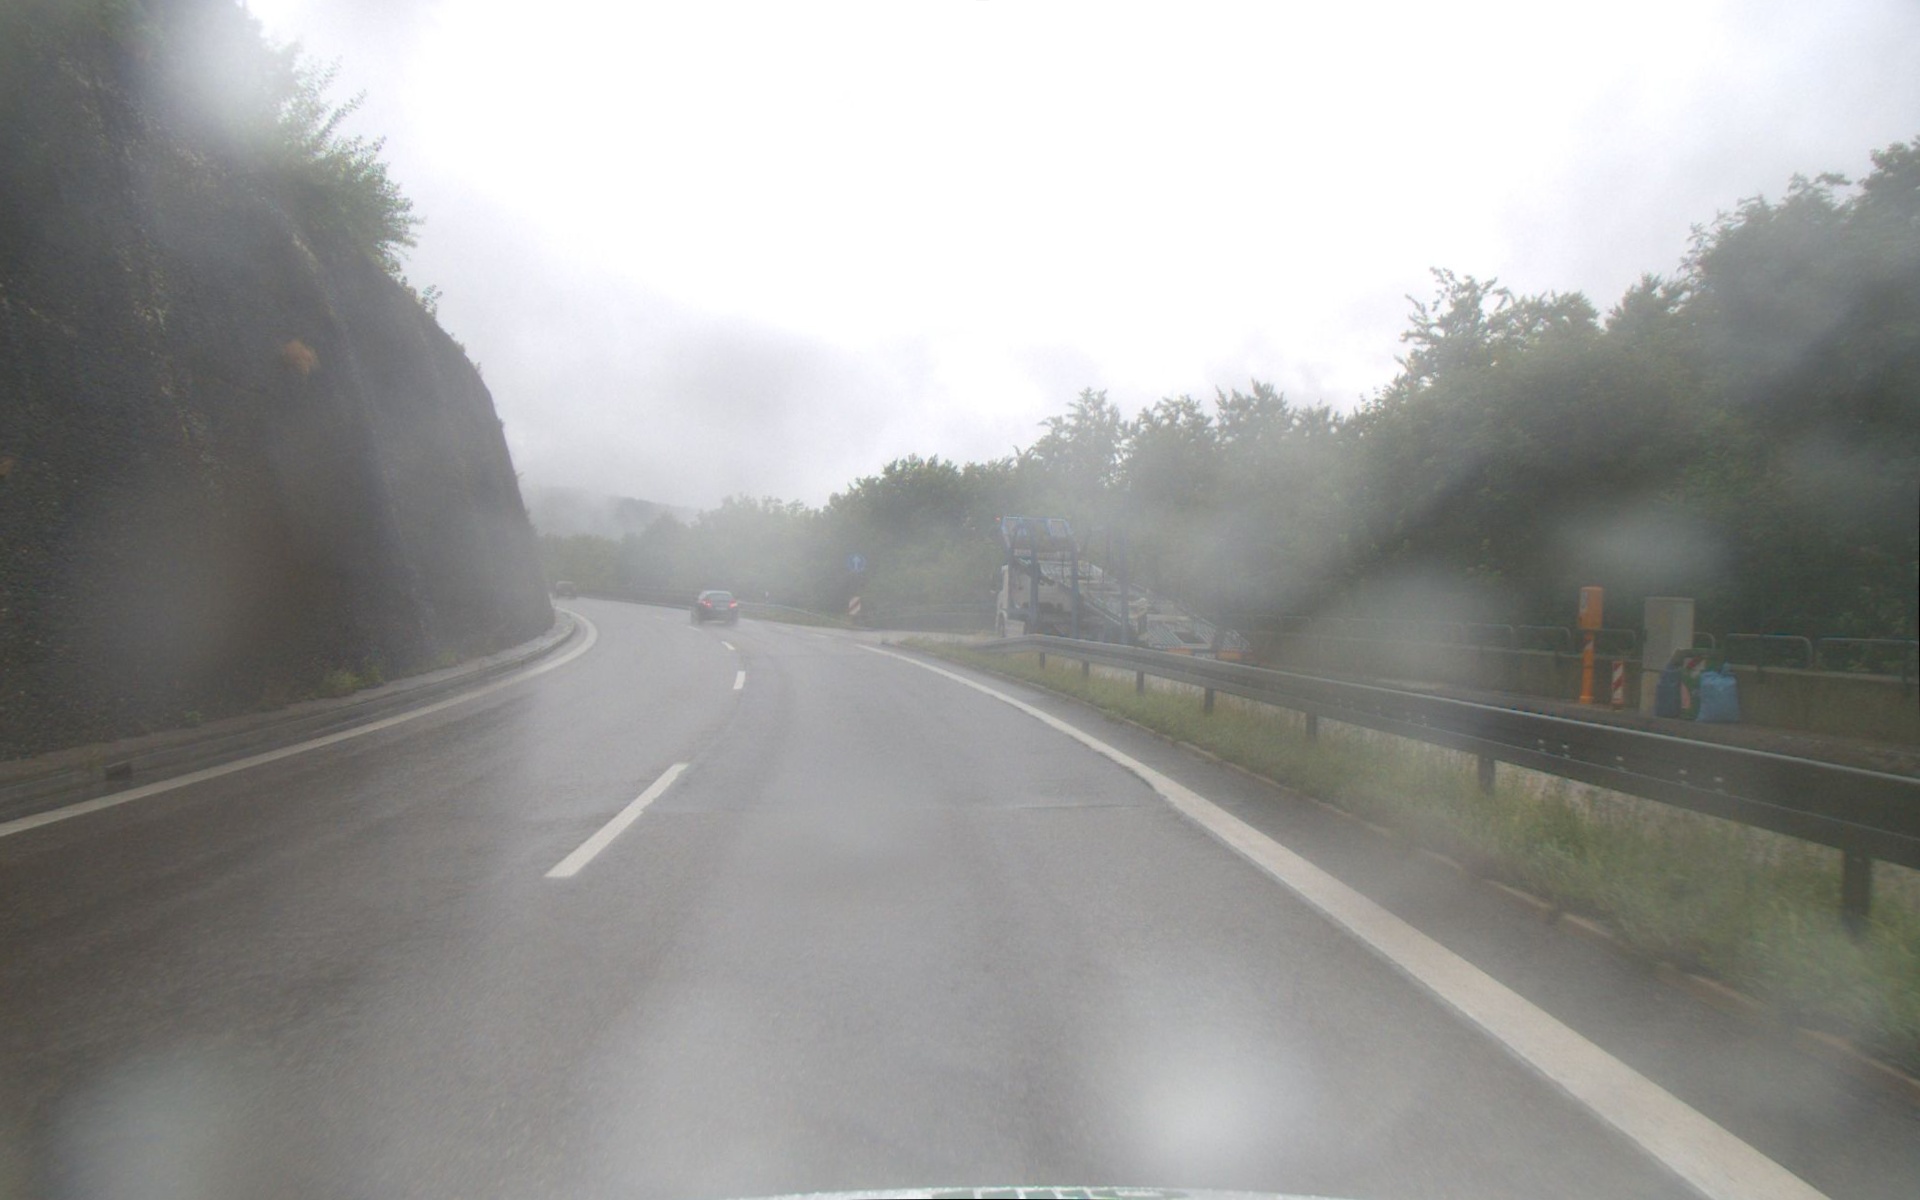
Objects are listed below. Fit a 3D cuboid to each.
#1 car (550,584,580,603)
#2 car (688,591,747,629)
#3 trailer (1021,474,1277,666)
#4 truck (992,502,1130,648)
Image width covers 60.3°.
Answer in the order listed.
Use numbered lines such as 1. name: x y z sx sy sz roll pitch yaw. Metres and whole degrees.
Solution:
1. car: -34.687 -0.606 145.136 1.879 1.525 3.970 2 0 -24
2. car: -10.905 0.427 74.275 1.875 1.525 3.978 2 0 -19
3. trailer: 4.565 -0.668 44.640 2.839 4.319 14.662 1 0 -10
4. truck: 3.109 -0.742 53.007 2.844 4.319 6.864 1 0 -10
